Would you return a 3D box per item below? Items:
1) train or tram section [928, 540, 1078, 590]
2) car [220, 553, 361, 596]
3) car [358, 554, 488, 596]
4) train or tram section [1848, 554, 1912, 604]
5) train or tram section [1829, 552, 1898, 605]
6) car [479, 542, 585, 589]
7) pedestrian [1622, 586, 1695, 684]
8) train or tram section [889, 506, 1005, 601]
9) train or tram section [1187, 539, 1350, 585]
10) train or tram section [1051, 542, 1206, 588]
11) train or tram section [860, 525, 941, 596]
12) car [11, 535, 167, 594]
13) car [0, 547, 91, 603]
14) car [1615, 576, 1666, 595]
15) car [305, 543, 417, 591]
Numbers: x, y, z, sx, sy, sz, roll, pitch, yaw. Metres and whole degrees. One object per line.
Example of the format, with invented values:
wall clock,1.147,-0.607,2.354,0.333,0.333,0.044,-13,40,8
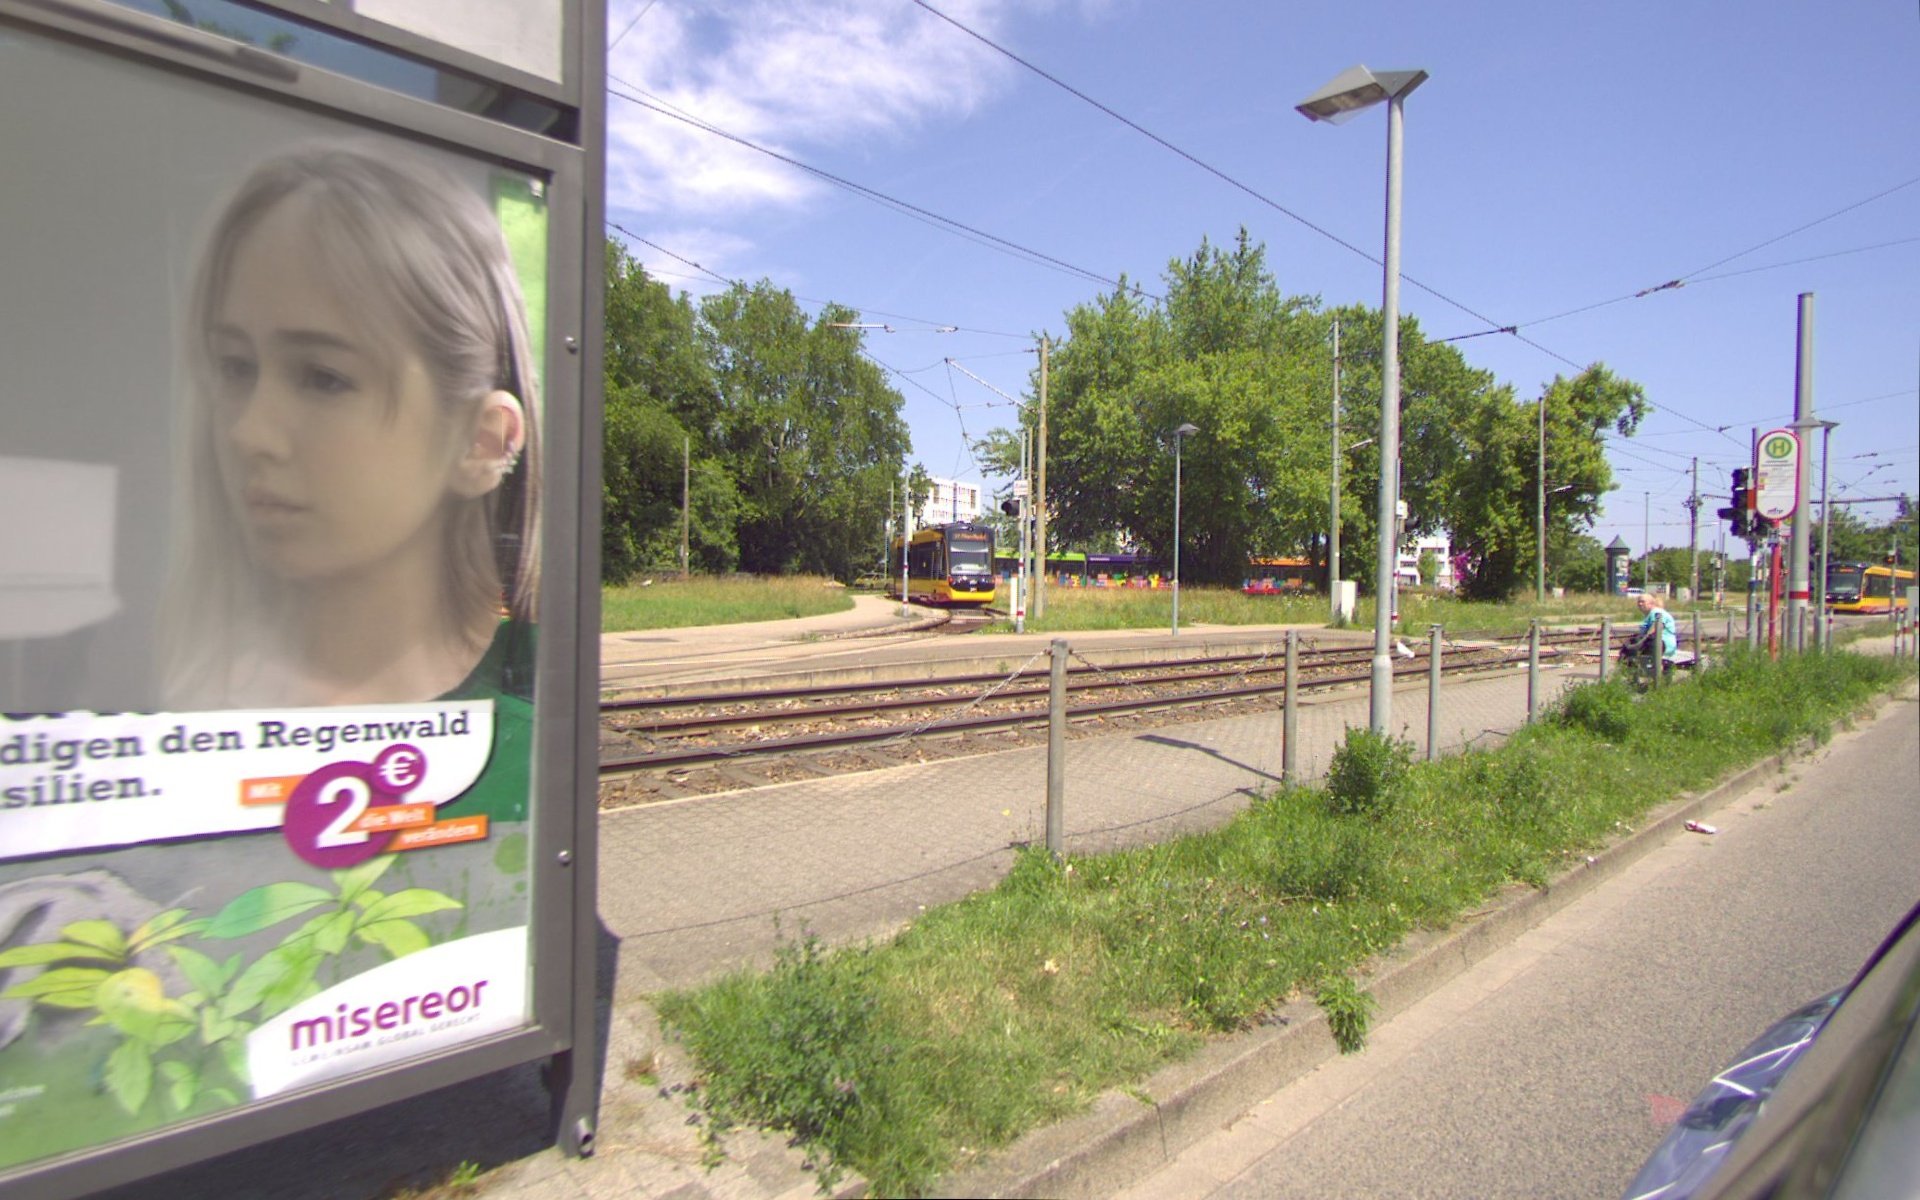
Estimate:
train or tram section,3.619,-2.683,79.924,13.004,3.663,2.715,0,2,-37
car,-24.399,-0.949,37.010,1.939,1.440,3.910,2,2,26
car,-21.773,-1.030,41.240,1.688,1.558,4.574,2,2,26
train or tram section,66.082,-1.498,72.673,7.133,3.364,2.523,0,2,-41
train or tram section,60.688,-1.456,67.941,7.133,3.364,2.523,0,2,-41
car,-19.429,-1.556,46.115,1.939,2.038,4.276,2,2,26
pedestrian,8.460,0.407,12.255,0.611,1.143,0.610,-1,1,-43
train or tram section,-0.949,-1.941,46.190,2.659,3.694,13.212,-1,1,-12
train or tram section,26.227,-3.216,86.612,13.017,3.695,2.712,-1,1,6
train or tram section,14.254,-2.978,85.352,12.973,3.695,2.721,-1,1,-17
train or tram section,-3.730,-2.159,59.074,2.659,3.694,13.278,-1,1,-12
car,-32.154,-1.300,37.462,1.983,2.038,3.958,2,2,30
car,-28.854,-0.742,29.473,2.108,1.631,5.002,2,2,31
car,59.531,-1.284,88.564,3.917,1.638,1.857,-1,1,-22
car,-27.304,-1.483,46.263,1.979,2.039,3.966,-1,1,25
